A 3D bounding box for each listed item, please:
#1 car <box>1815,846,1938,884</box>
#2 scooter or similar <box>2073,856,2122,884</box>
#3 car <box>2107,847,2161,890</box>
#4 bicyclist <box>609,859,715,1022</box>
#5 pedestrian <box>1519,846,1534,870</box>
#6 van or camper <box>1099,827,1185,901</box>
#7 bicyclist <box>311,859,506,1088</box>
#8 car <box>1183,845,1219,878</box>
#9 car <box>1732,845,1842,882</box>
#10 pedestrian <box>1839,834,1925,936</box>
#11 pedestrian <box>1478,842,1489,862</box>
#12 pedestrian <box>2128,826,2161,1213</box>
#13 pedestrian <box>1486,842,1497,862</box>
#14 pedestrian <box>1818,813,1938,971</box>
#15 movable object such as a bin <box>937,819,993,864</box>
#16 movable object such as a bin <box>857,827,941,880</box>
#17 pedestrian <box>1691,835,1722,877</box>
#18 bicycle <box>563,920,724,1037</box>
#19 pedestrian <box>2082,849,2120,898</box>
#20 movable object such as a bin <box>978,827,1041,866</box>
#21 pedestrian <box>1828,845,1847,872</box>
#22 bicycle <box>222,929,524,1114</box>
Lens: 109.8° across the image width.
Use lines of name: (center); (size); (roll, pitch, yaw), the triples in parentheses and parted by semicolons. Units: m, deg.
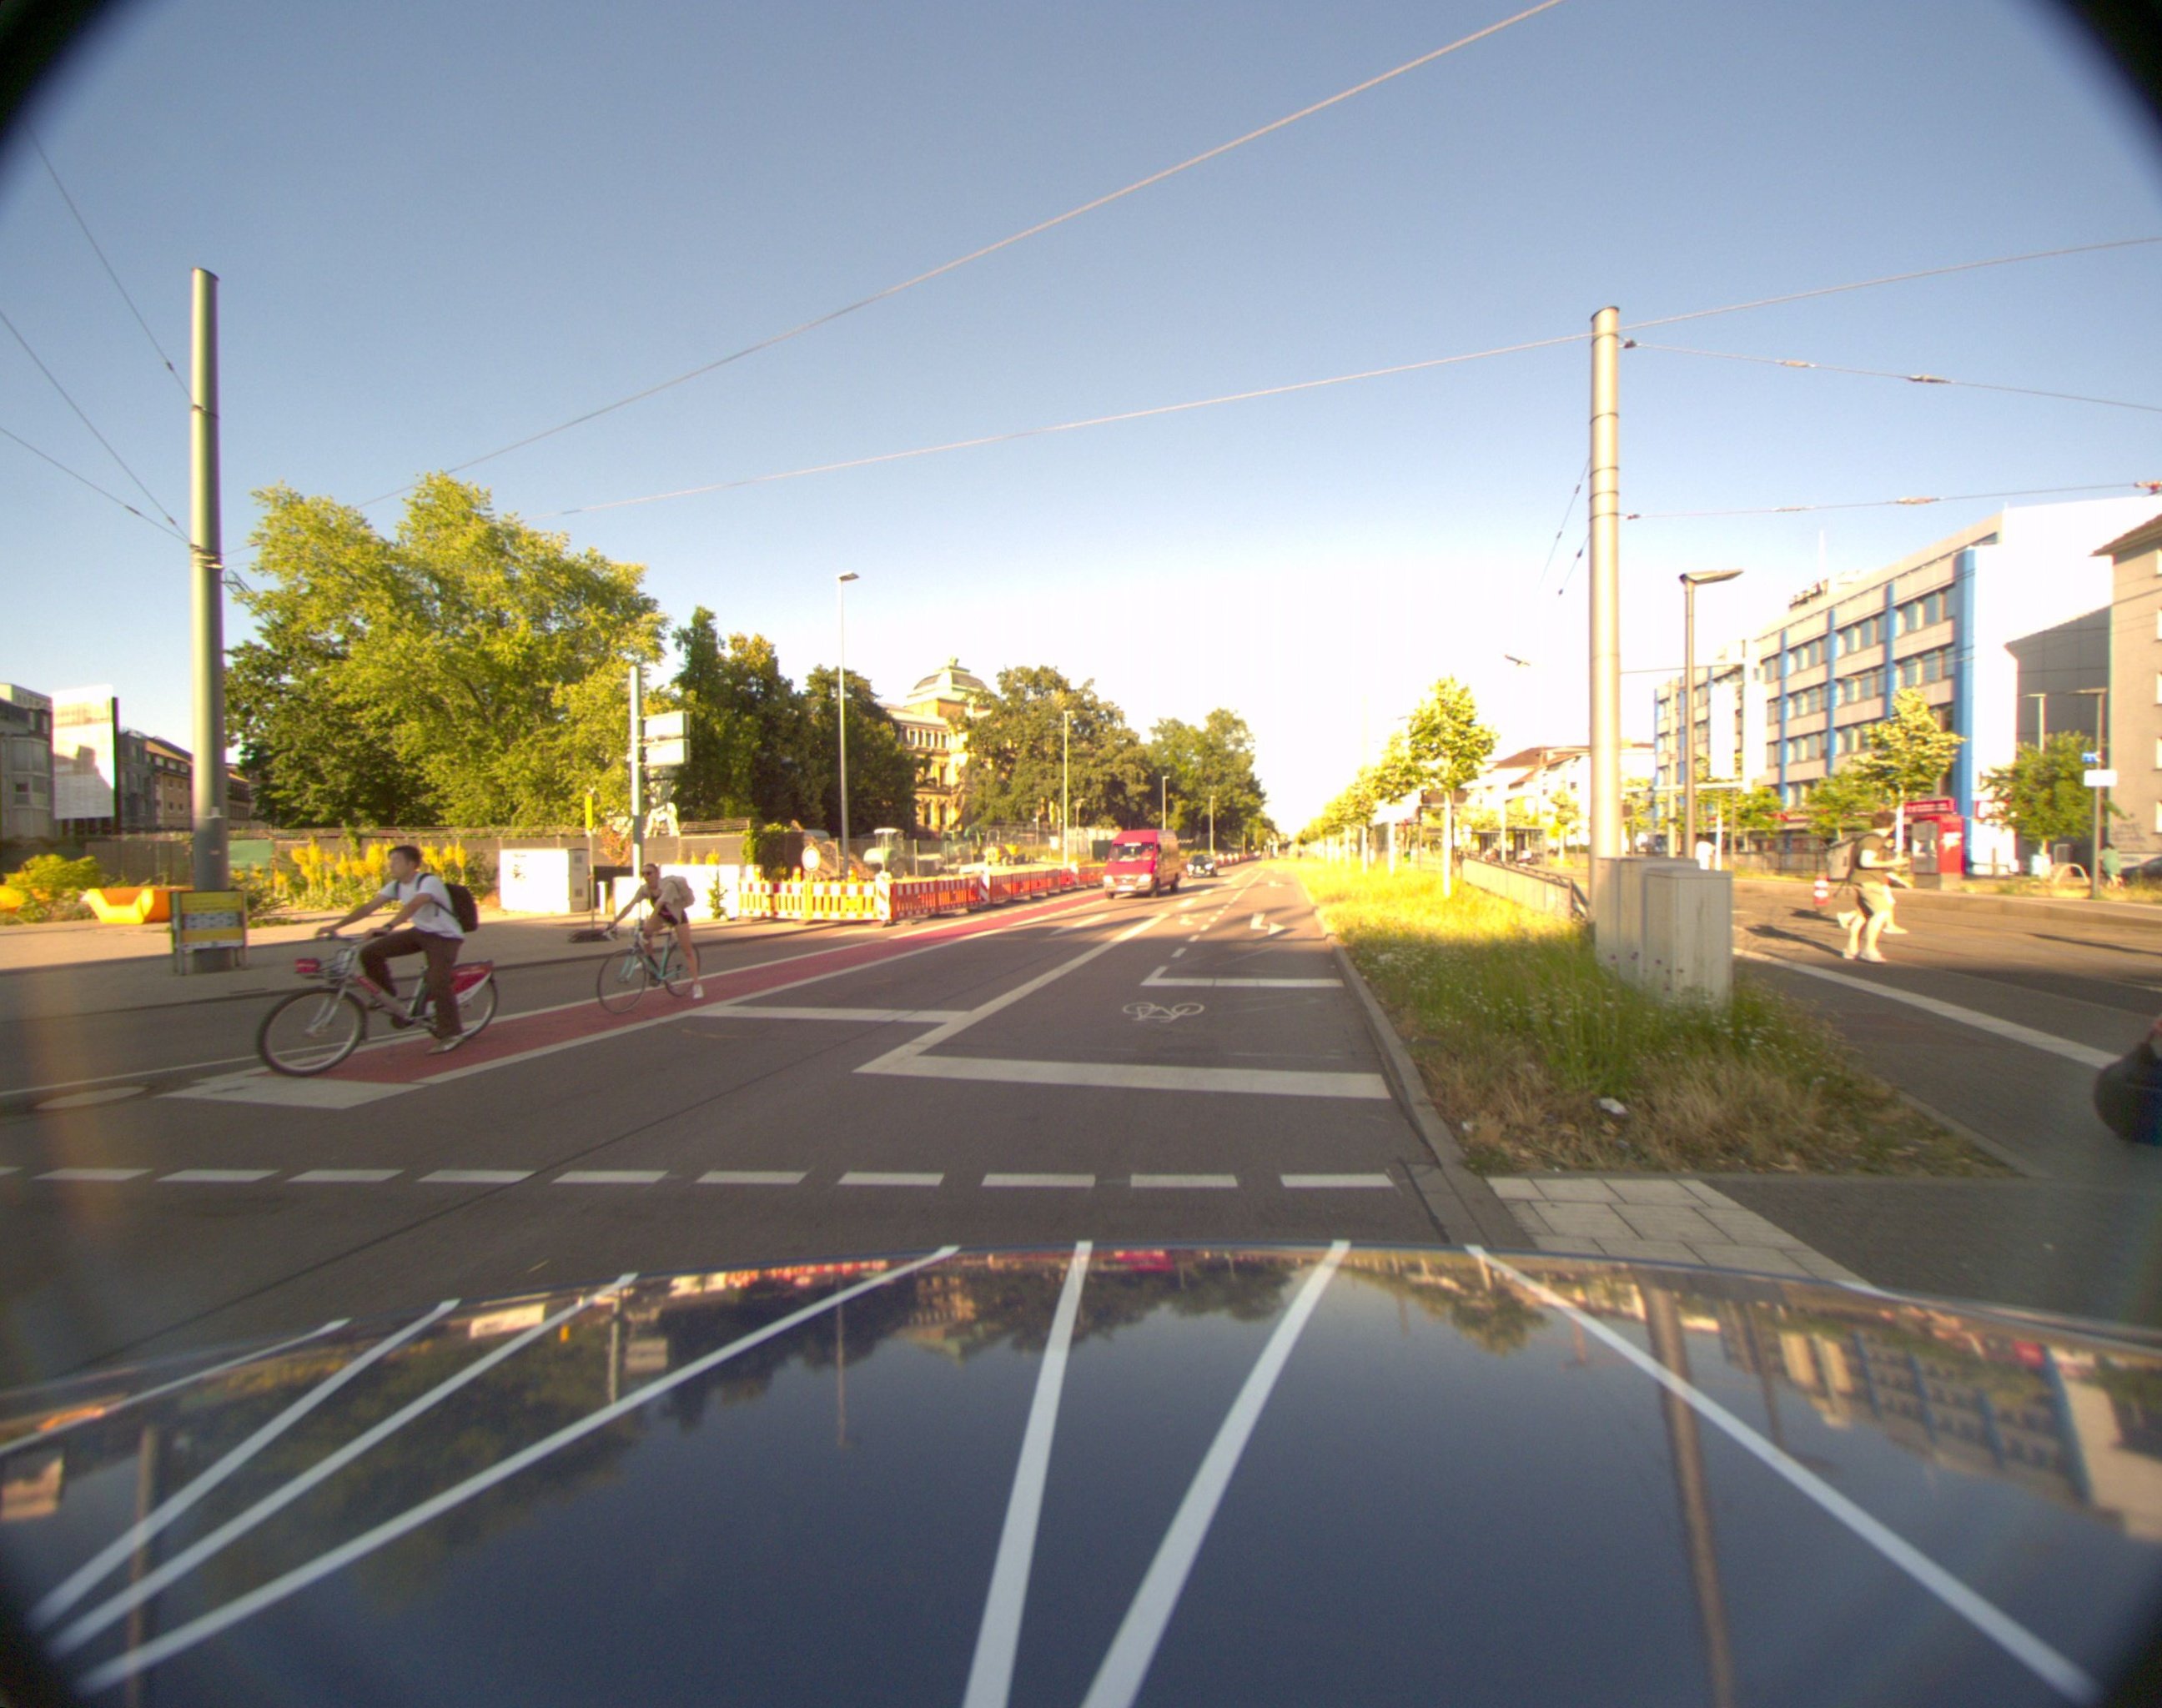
car: (34.428, 0.424, 33.038); (1.884, 1.499, 3.947); (-2, 0, 14)
scooter or similar: (38.907, 0.602, 29.102); (0.486, 1.000, 1.331); (-2, 1, 21)
car: (40.337, 0.518, 27.524); (1.884, 1.499, 3.678); (-2, 0, 14)
bicyclist: (-4.699, 0.937, 8.566); (0.615, 1.736, 0.793); (-2, 1, 10)
pedestrian: (31.244, 0.265, 53.254); (0.659, 1.682, 0.773); (-2, 1, 13)
van or camper: (2.508, 0.311, 29.286); (1.996, 2.514, 5.921); (-2, 0, 17)
bicyclist: (-5.629, 0.936, 6.431); (0.542, 1.758, 1.061); (-2, 1, 10)
car: (7.780, 0.456, 49.060); (1.997, 2.002, 4.003); (-2, 0, 12)
car: (31.152, 0.379, 33.684); (1.884, 1.499, 3.947); (-2, 0, 14)
pedestrian: (13.645, 0.517, 12.972); (0.786, 1.689, 0.620); (-2, 1, 17)
pedestrian: (34.508, -0.196, 65.111); (0.659, 1.682, 0.773); (-2, 1, 17)
pedestrian: (4.866, 0.689, 2.904); (0.786, 1.631, 0.620); (-2, 1, 12)
pedestrian: (33.947, -0.163, 62.868); (0.659, 1.682, 0.773); (-2, 1, 20)
pedestrian: (9.757, 0.458, 9.335); (0.786, 1.853, 0.620); (-2, 1, 17)
movable object such as a bin: (-9.036, -0.973, 59.702); (1.996, 3.310, 5.381); (-2, 1, 19)
movable object such as a bin: (-9.909, -0.053, 41.795); (1.996, 2.668, 5.020); (-2, 0, 19)
pedestrian: (25.504, 0.094, 30.988); (0.786, 1.663, 0.620); (-2, 1, 17)
bicycle: (-4.749, 1.312, 8.401); (0.542, 0.995, 1.695); (-2, 0, 10)
pedestrian: (38.791, 0.746, 28.897); (0.561, 1.837, 0.724); (-2, 1, 21)
movable object such as a bin: (-5.425, -0.627, 58.581); (1.995, 2.800, 5.876); (-2, 1, 25)
pedestrian: (48.610, 0.272, 48.833); (0.644, 1.736, 0.600); (-2, 1, 21)
bicycle: (-5.638, 1.269, 6.235); (0.542, 1.094, 1.810); (-2, 0, 10)
